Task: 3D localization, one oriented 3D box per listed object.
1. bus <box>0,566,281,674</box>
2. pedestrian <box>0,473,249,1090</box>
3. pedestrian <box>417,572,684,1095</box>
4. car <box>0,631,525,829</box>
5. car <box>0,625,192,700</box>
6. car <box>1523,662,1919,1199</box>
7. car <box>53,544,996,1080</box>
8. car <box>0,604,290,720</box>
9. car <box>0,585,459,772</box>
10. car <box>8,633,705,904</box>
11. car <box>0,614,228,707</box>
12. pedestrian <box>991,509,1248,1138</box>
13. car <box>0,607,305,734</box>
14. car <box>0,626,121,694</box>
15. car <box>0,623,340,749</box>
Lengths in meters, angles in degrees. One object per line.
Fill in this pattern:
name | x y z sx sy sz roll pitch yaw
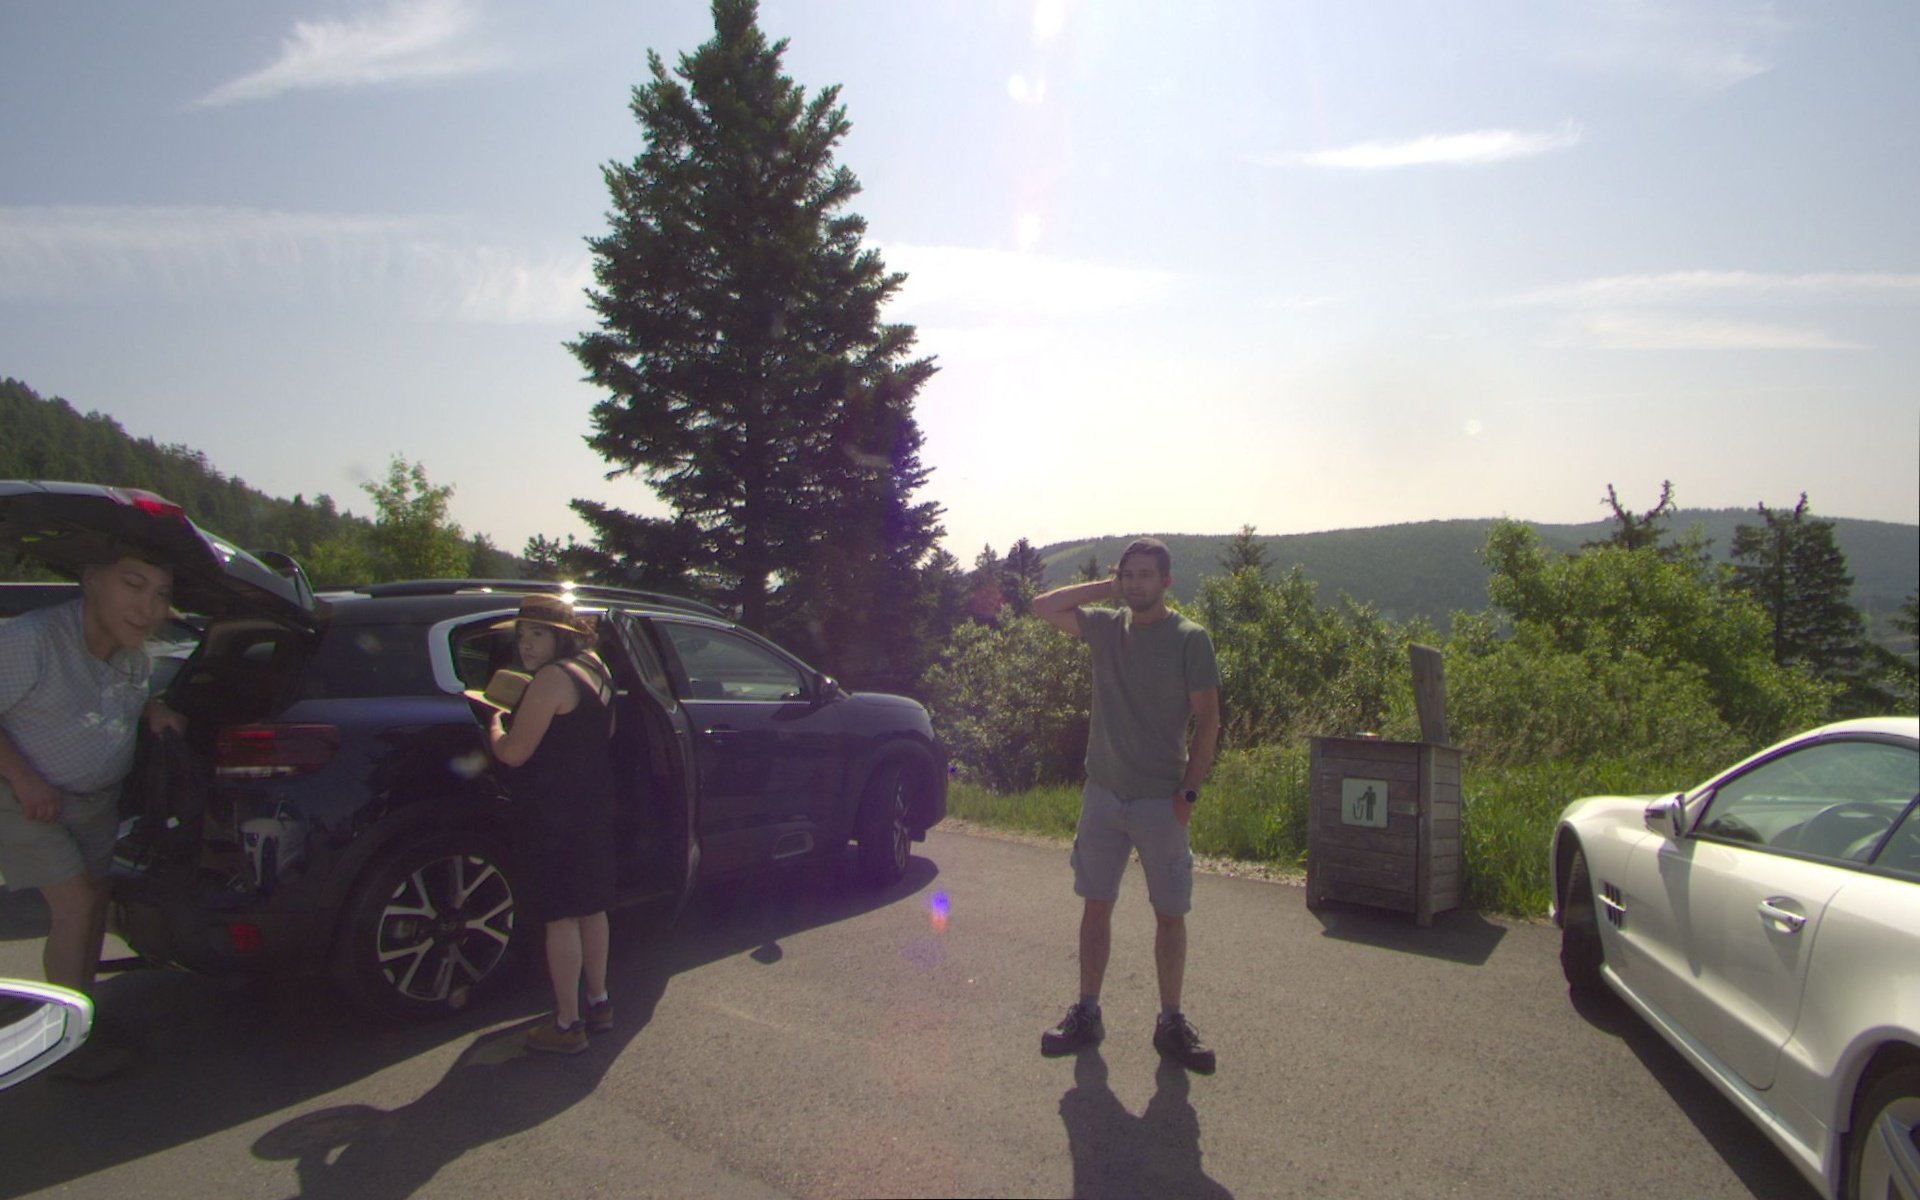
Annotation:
bus | -31.925 0.680 35.332 12.977 3.579 3.020 -2 1 -38
pedestrian | -3.022 0.558 3.435 0.724 1.896 0.756 1 1 -18
pedestrian | -1.450 0.747 3.591 0.529 1.633 0.712 -2 -2 33
car | -6.325 0.995 9.132 1.680 1.394 4.070 -1 -2 36
car | -19.478 1.331 21.922 1.602 1.417 3.965 -1 0 42
car | 2.925 0.874 2.656 1.725 1.312 4.407 0 -2 19
car | -1.779 0.786 5.404 1.846 1.646 4.332 -2 -4 36
car | -14.429 0.979 16.744 2.025 1.673 5.006 -1 0 42
car | -8.462 0.723 11.016 1.925 1.718 4.919 -1 0 44
car | -3.983 0.948 7.341 1.678 1.394 4.074 -1 -2 33
car | -16.892 1.122 19.526 1.641 1.574 3.965 -1 0 42
pedestrian | 0.566 0.667 3.376 0.735 1.823 0.735 -1 -1 17
car | -12.376 0.960 14.742 1.818 1.574 4.221 -1 0 42
car | -22.352 1.421 23.398 1.840 1.468 3.965 -1 0 42
car | -10.582 1.024 12.758 1.818 1.286 4.221 -1 0 42
